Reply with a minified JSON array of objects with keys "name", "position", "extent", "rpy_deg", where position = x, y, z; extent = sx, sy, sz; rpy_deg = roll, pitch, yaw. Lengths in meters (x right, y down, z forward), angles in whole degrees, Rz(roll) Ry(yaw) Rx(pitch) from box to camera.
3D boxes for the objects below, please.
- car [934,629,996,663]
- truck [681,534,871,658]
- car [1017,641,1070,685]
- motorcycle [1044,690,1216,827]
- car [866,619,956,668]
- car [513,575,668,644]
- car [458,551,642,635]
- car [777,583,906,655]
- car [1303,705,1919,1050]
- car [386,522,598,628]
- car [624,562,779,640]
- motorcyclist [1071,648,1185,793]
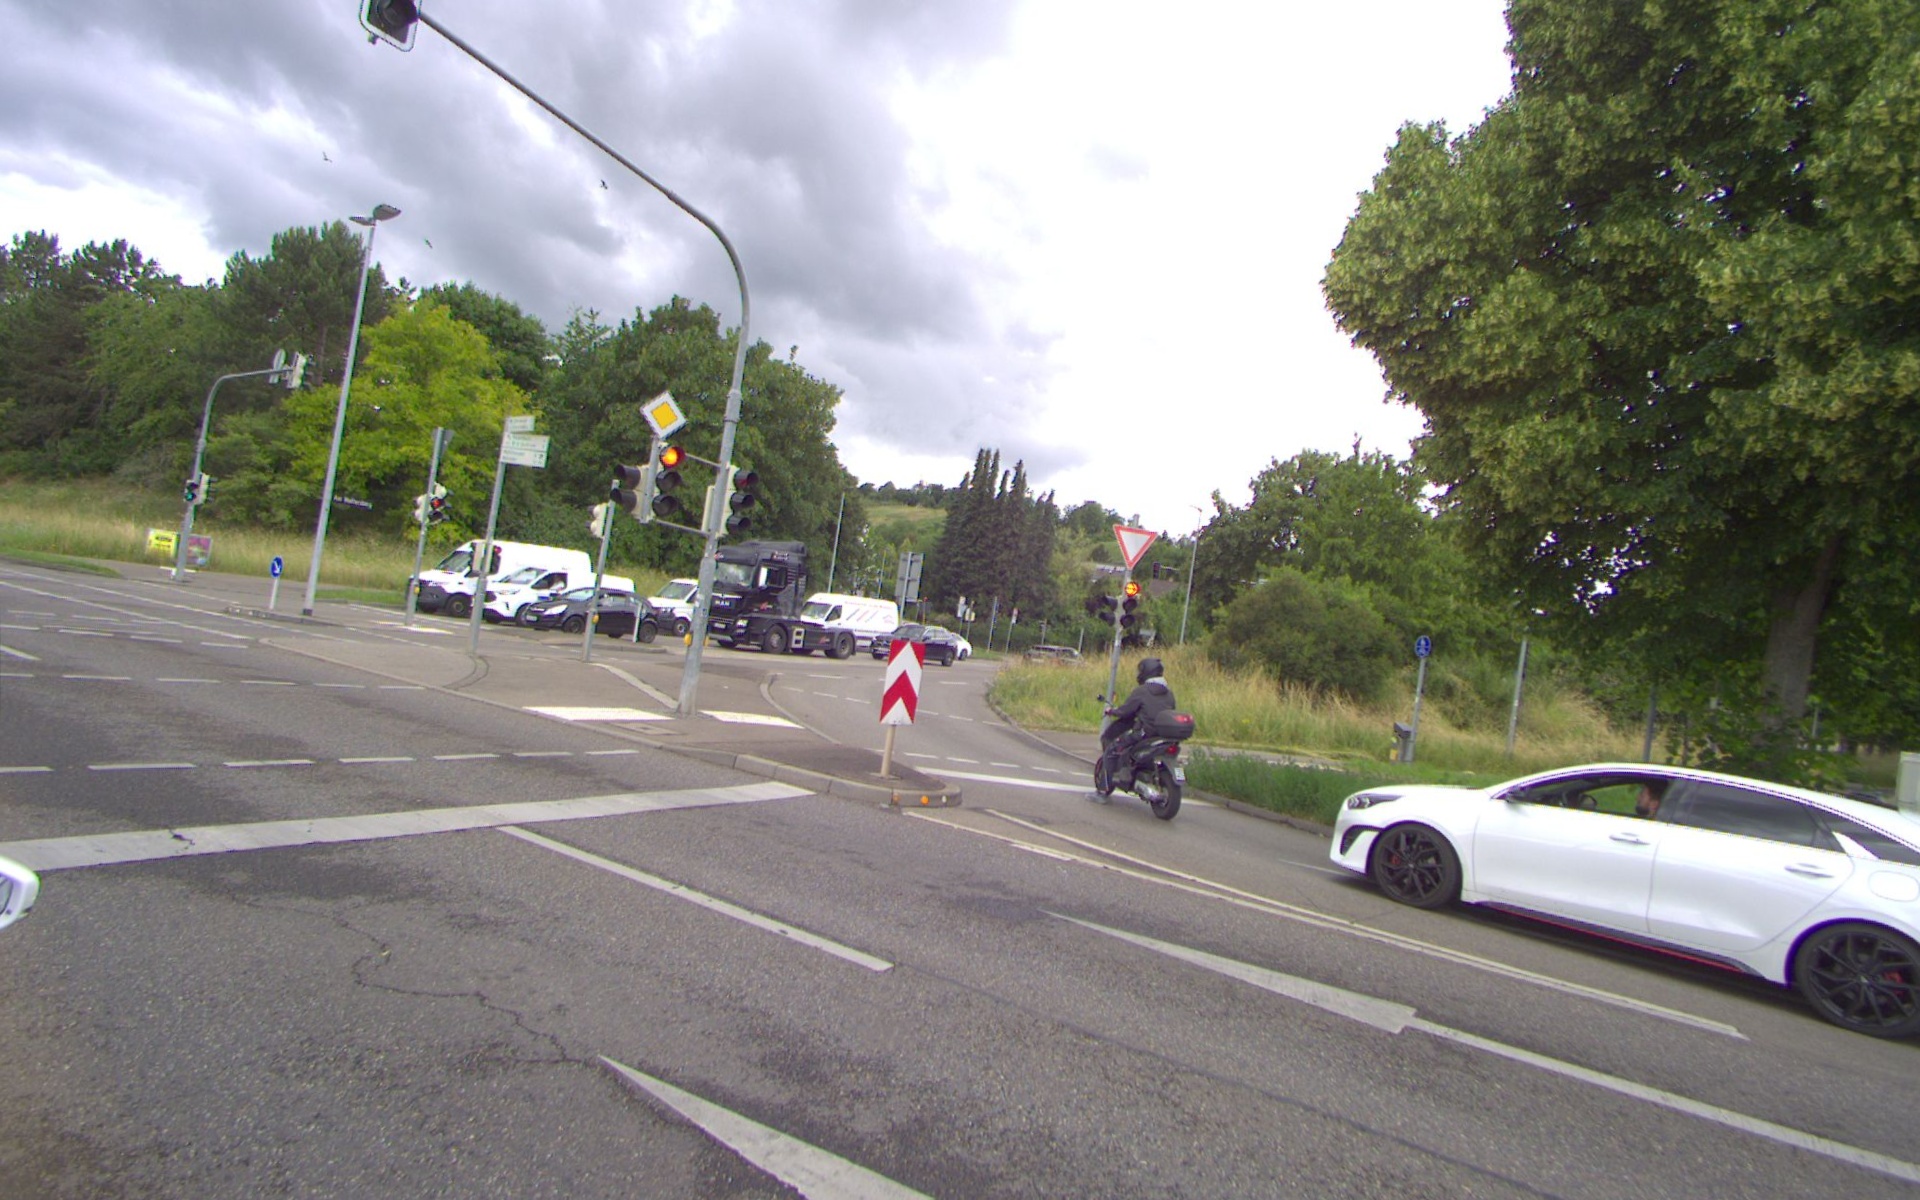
[{"name":"car","position":[0.301,2.622,57.073],"extent":[1.625,1.473,3.861],"rpy_deg":[7,-2,32]},{"name":"truck","position":[-6.342,-0.039,35.537],"extent":[3.025,3.558,5.950],"rpy_deg":[6,-2,33]},{"name":"car","position":[3.400,2.499,40.383],"extent":[1.718,1.452,3.871],"rpy_deg":[7,-2,8]},{"name":"motorcycle","position":[1.811,1.702,11.130],"extent":[0.750,1.102,2.059],"rpy_deg":[9,-2,-23]},{"name":"car","position":[-1.990,1.835,42.045],"extent":[1.722,1.594,3.861],"rpy_deg":[7,-2,32]},{"name":"car","position":[-10.518,0.319,28.890],"extent":[1.610,1.458,3.858],"rpy_deg":[7,-2,34]},{"name":"car","position":[-12.829,-0.156,31.856],"extent":[2.086,2.013,4.981],"rpy_deg":[5,-3,32]},{"name":"car","position":[-5.598,1.010,48.789],"extent":[2.192,2.751,6.674],"rpy_deg":[6,-2,33]},{"name":"car","position":[5.096,1.855,7.323],"extent":[1.828,1.435,4.457],"rpy_deg":[12,-5,-44]},{"name":"car","position":[-15.396,-0.722,33.537],"extent":[2.192,2.689,5.950],"rpy_deg":[6,-2,33]},{"name":"car","position":[-10.385,0.112,40.975],"extent":[2.193,2.413,5.948],"rpy_deg":[6,-2,35]},{"name":"motorcyclist","position":[1.853,1.319,11.159],"extent":[0.750,1.437,0.813],"rpy_deg":[9,-1,-23]}]
